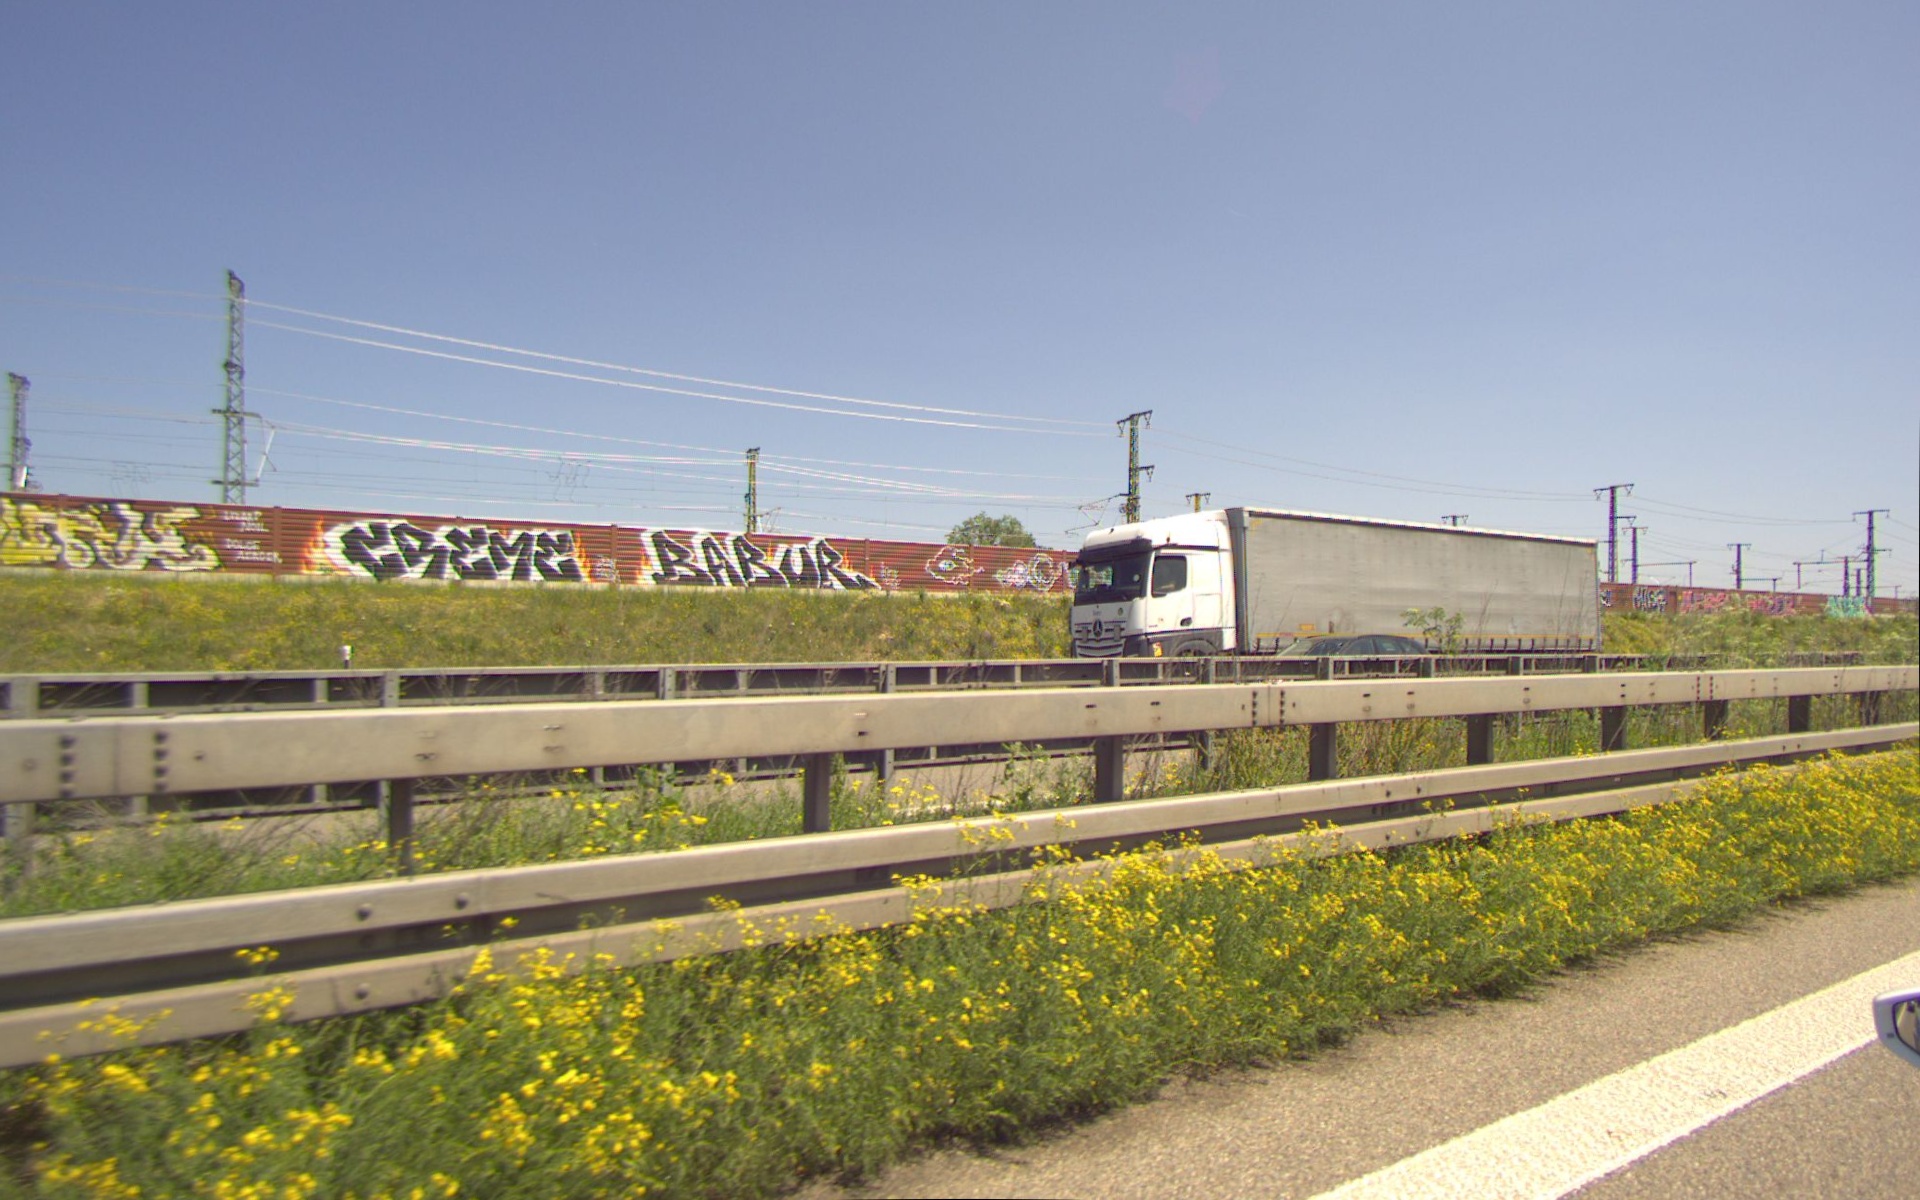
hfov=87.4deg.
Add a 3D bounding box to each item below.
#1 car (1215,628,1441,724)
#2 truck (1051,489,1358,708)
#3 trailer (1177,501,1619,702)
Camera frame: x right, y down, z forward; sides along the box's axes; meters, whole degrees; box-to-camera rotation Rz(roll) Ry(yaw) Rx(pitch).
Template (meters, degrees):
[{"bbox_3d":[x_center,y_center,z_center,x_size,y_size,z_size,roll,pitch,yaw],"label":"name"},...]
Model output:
[{"bbox_3d":[6.443,1.256,17.504,3.790,1.481,1.637,1,0,-29],"label":"car"},{"bbox_3d":[5.321,0.056,21.628,6.304,4.126,2.718,1,-2,-30],"label":"truck"},{"bbox_3d":[11.419,0.192,25.131,13.367,4.128,2.718,1,-2,-30],"label":"trailer"}]
